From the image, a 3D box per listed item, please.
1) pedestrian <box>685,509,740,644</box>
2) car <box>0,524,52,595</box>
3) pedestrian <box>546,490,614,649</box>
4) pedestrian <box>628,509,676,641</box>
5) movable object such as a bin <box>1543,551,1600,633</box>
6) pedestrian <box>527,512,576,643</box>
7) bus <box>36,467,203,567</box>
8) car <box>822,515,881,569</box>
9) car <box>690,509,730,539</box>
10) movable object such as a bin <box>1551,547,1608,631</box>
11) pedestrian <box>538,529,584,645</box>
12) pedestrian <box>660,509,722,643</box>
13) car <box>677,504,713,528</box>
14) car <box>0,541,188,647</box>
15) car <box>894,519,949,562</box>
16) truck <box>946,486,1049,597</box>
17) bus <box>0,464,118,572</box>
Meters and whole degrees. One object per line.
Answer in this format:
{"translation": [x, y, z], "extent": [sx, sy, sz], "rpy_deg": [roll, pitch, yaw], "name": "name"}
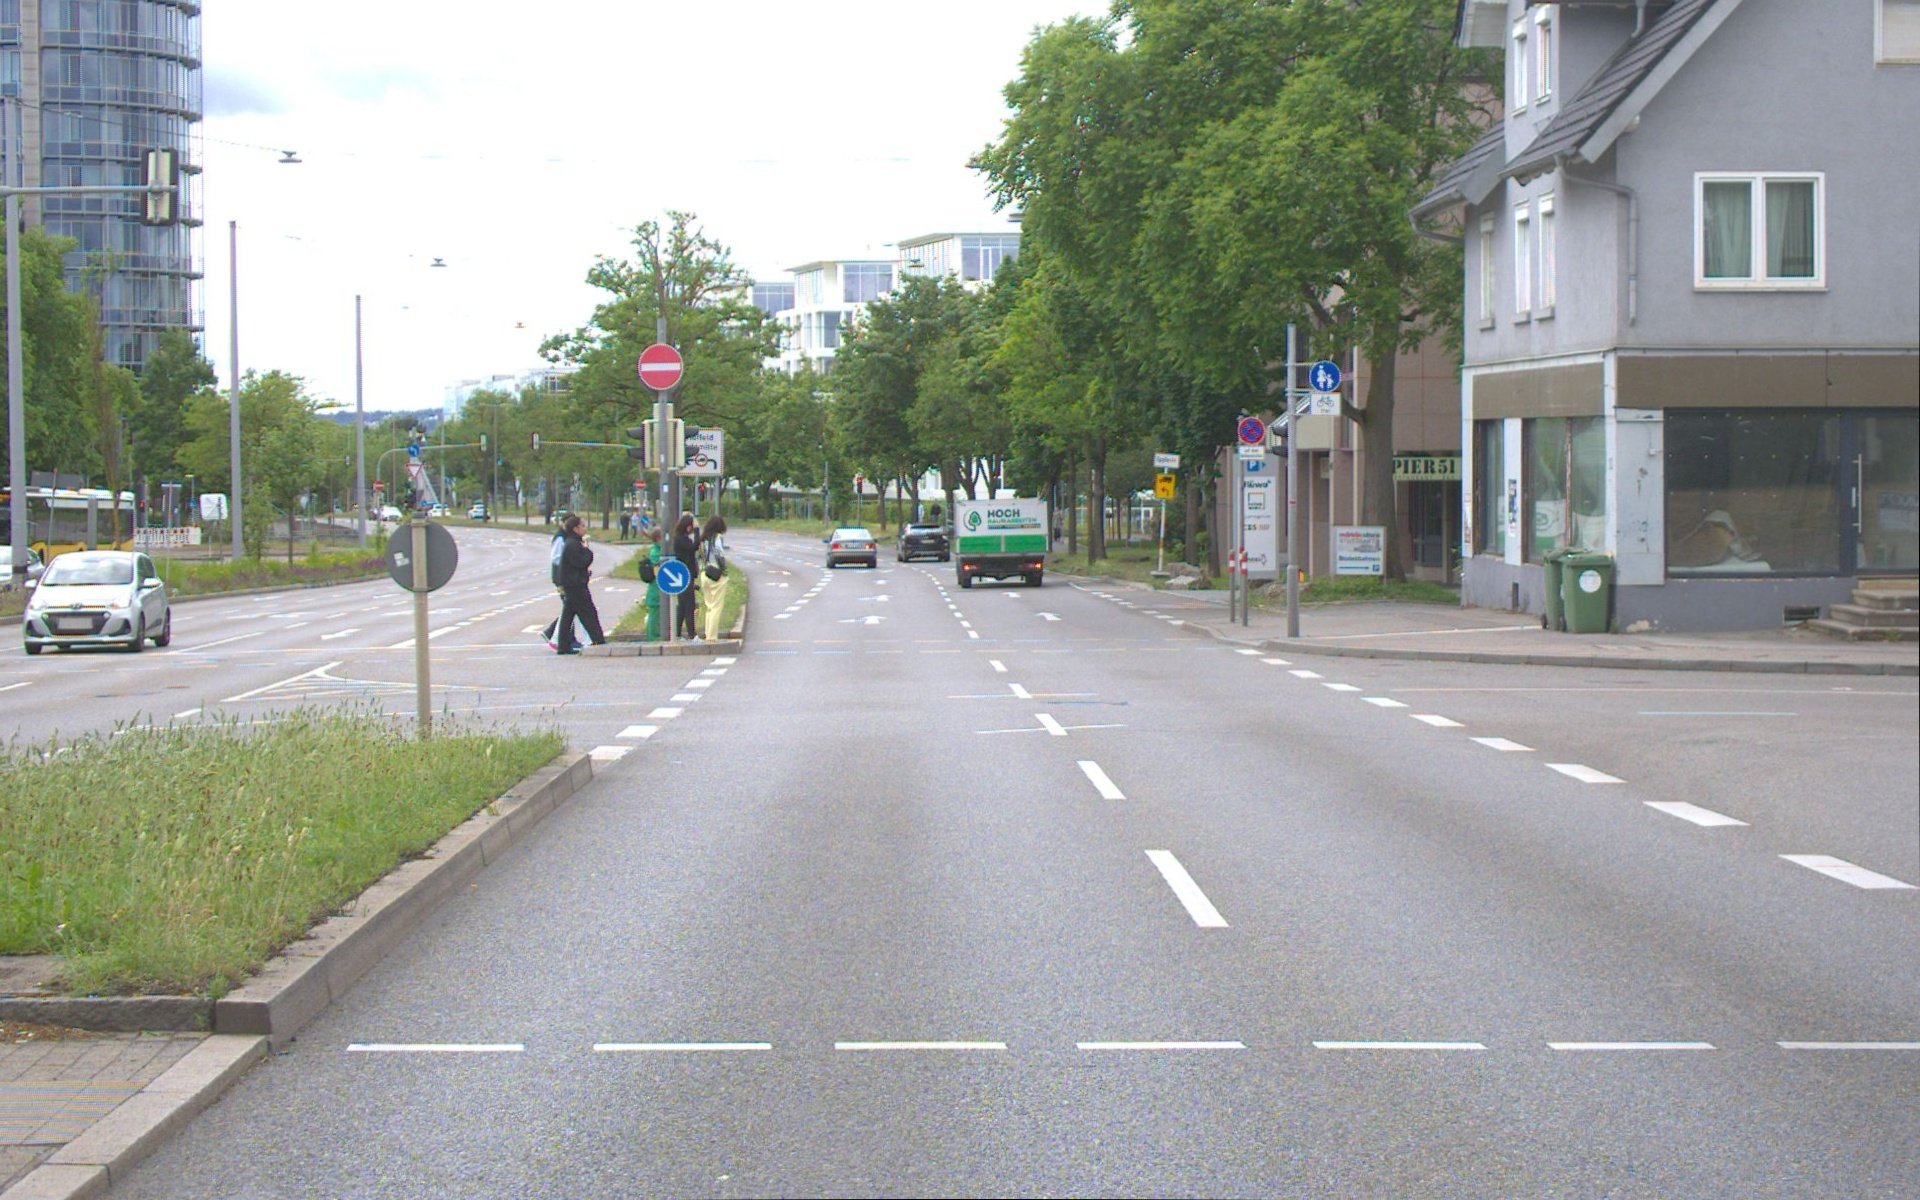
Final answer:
{"translation": [-3.166, -0.303, 43.923], "extent": [0.653, 1.710, 0.452], "rpy_deg": [-1, 1, -7], "name": "pedestrian"}
{"translation": [-23.358, -0.987, 82.872], "extent": [1.806, 1.656, 4.000], "rpy_deg": [-1, 1, 1], "name": "car"}
{"translation": [-4.852, -0.395, 43.865], "extent": [0.829, 2.007, 0.546], "rpy_deg": [-1, 1, -7], "name": "pedestrian"}
{"translation": [-4.055, -0.334, 45.235], "extent": [0.583, 1.710, 0.546], "rpy_deg": [-1, 1, -7], "name": "pedestrian"}
{"translation": [7.917, -0.107, 44.506], "extent": [0.616, 1.039, 0.589], "rpy_deg": [1, 1, 1], "name": "movable object such as a bin"}
{"translation": [-5.384, -0.304, 45.338], "extent": [0.612, 1.710, 0.546], "rpy_deg": [-1, 1, -7], "name": "pedestrian"}
{"translation": [-30.389, -2.983, 124.828], "extent": [2.832, 3.419, 10.732], "rpy_deg": [-1, 1, 3], "name": "bus"}
{"translation": [-3.770, -2.033, 119.775], "extent": [1.993, 1.824, 4.000], "rpy_deg": [1, 1, -1], "name": "car"}
{"translation": [-12.807, -3.882, 176.182], "extent": [1.993, 1.514, 4.001], "rpy_deg": [-1, 1, -4], "name": "car"}
{"translation": [7.904, -0.142, 43.852], "extent": [0.604, 1.056, 0.589], "rpy_deg": [1, 1, 1], "name": "movable object such as a bin"}
{"translation": [-5.183, -0.174, 44.657], "extent": [0.543, 1.491, 0.487], "rpy_deg": [-1, 1, -11], "name": "pedestrian"}
{"translation": [-3.488, -0.312, 44.529], "extent": [0.745, 1.710, 0.583], "rpy_deg": [-1, 1, -7], "name": "pedestrian"}
{"translation": [-17.846, -5.647, 231.410], "extent": [1.993, 1.546, 4.001], "rpy_deg": [-1, 1, -10], "name": "car"}
{"translation": [-12.837, -0.118, 50.952], "extent": [1.993, 1.481, 4.001], "rpy_deg": [-1, 1, -2], "name": "car"}
{"translation": [-1.455, -2.232, 128.998], "extent": [1.993, 1.546, 4.000], "rpy_deg": [1, 1, -1], "name": "car"}
{"translation": [0.946, -1.532, 86.806], "extent": [2.471, 2.602, 6.548], "rpy_deg": [1, 2, 1], "name": "truck"}
{"translation": [-31.001, -2.681, 114.089], "extent": [2.832, 3.419, 10.732], "rpy_deg": [-1, 1, 3], "name": "bus"}
